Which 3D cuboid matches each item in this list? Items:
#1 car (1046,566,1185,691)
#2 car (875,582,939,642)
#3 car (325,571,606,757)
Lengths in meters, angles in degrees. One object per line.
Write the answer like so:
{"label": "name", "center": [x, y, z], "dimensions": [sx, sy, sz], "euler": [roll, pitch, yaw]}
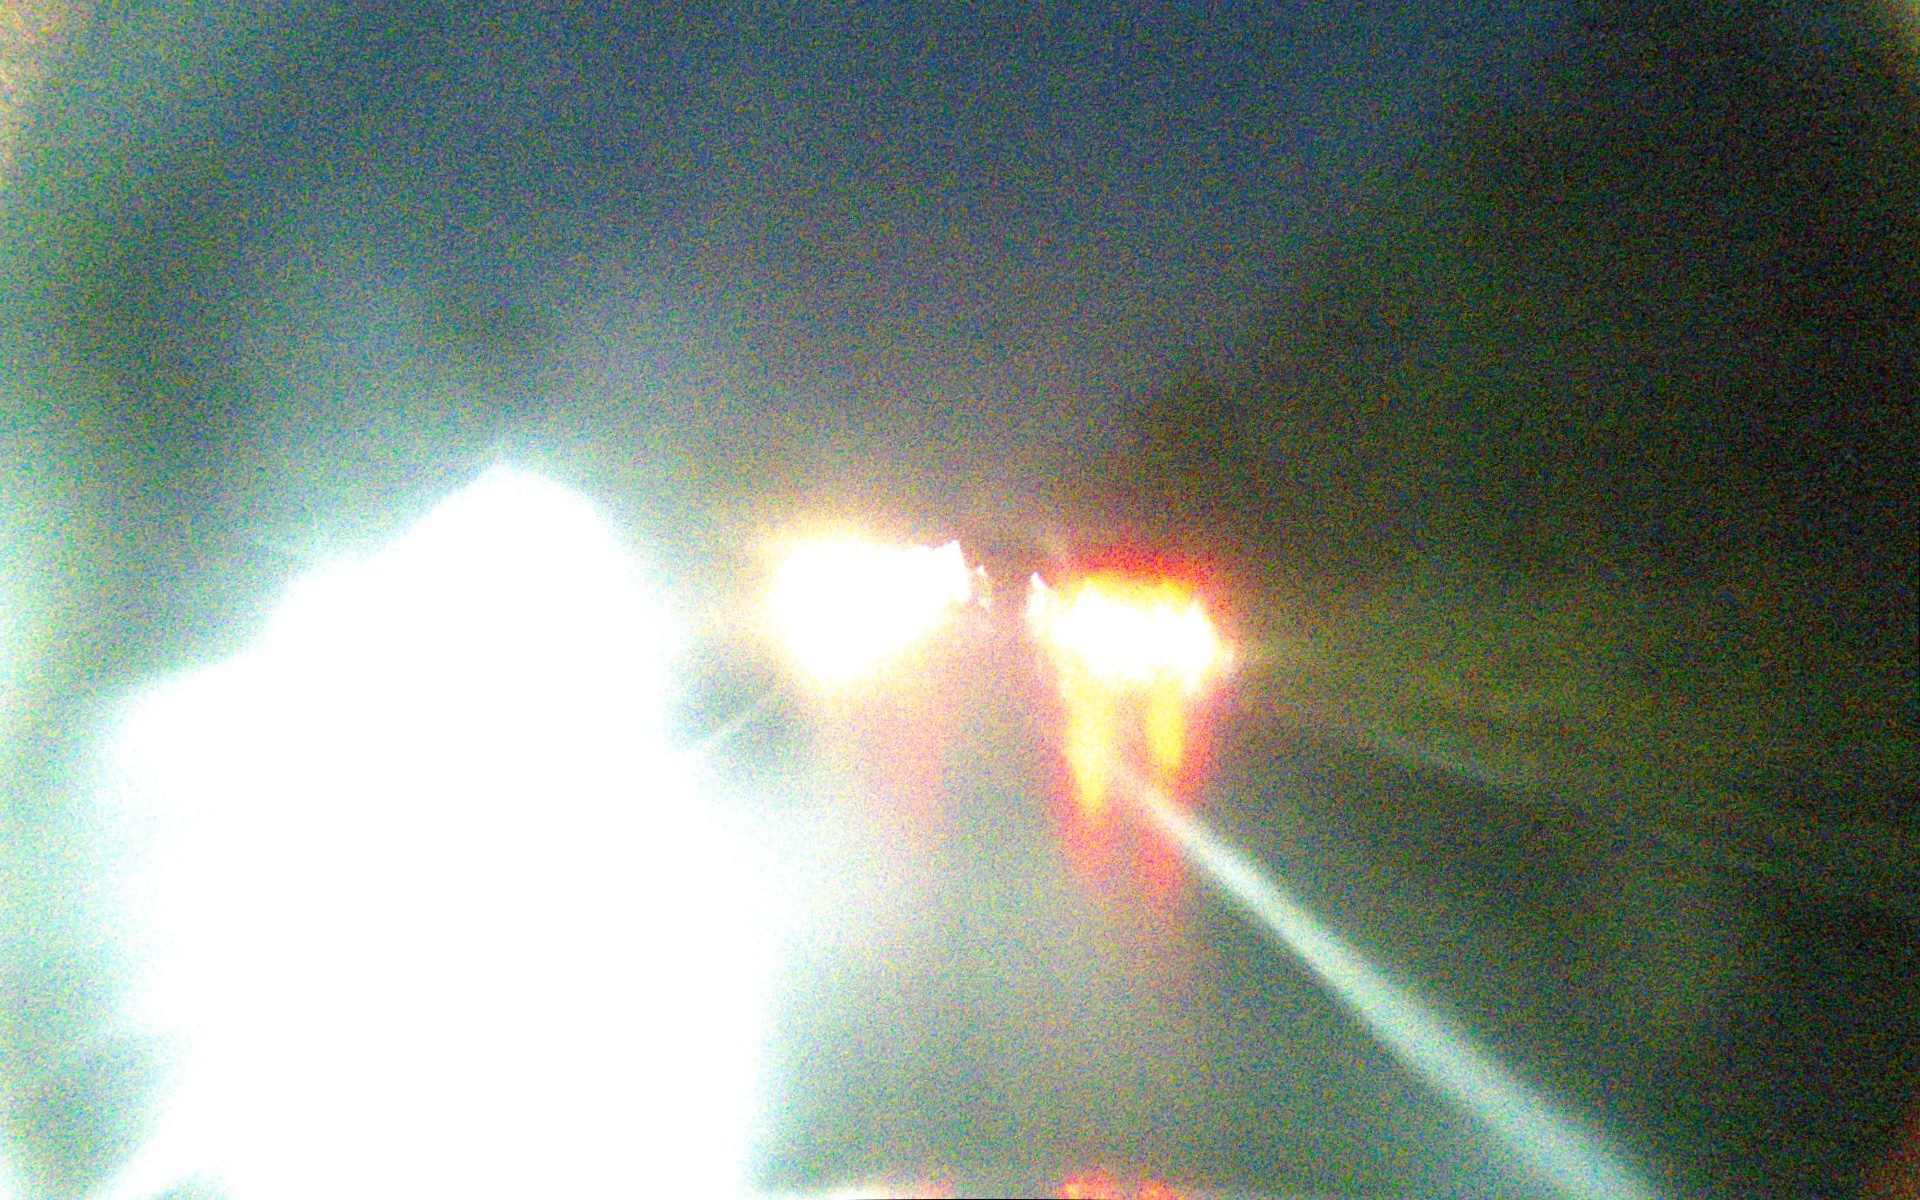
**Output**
{"label": "car", "center": [2.668, 0.463, 29.282], "dimensions": [2.050, 2.049, 4.000], "euler": [0, 0, 0]}
{"label": "car", "center": [-1.557, 0.323, 47.770], "dimensions": [1.772, 1.650, 3.998], "euler": [0, 0, -2]}
{"label": "car", "center": [-4.835, 0.558, 16.747], "dimensions": [1.772, 1.650, 3.998], "euler": [0, 0, -2]}
